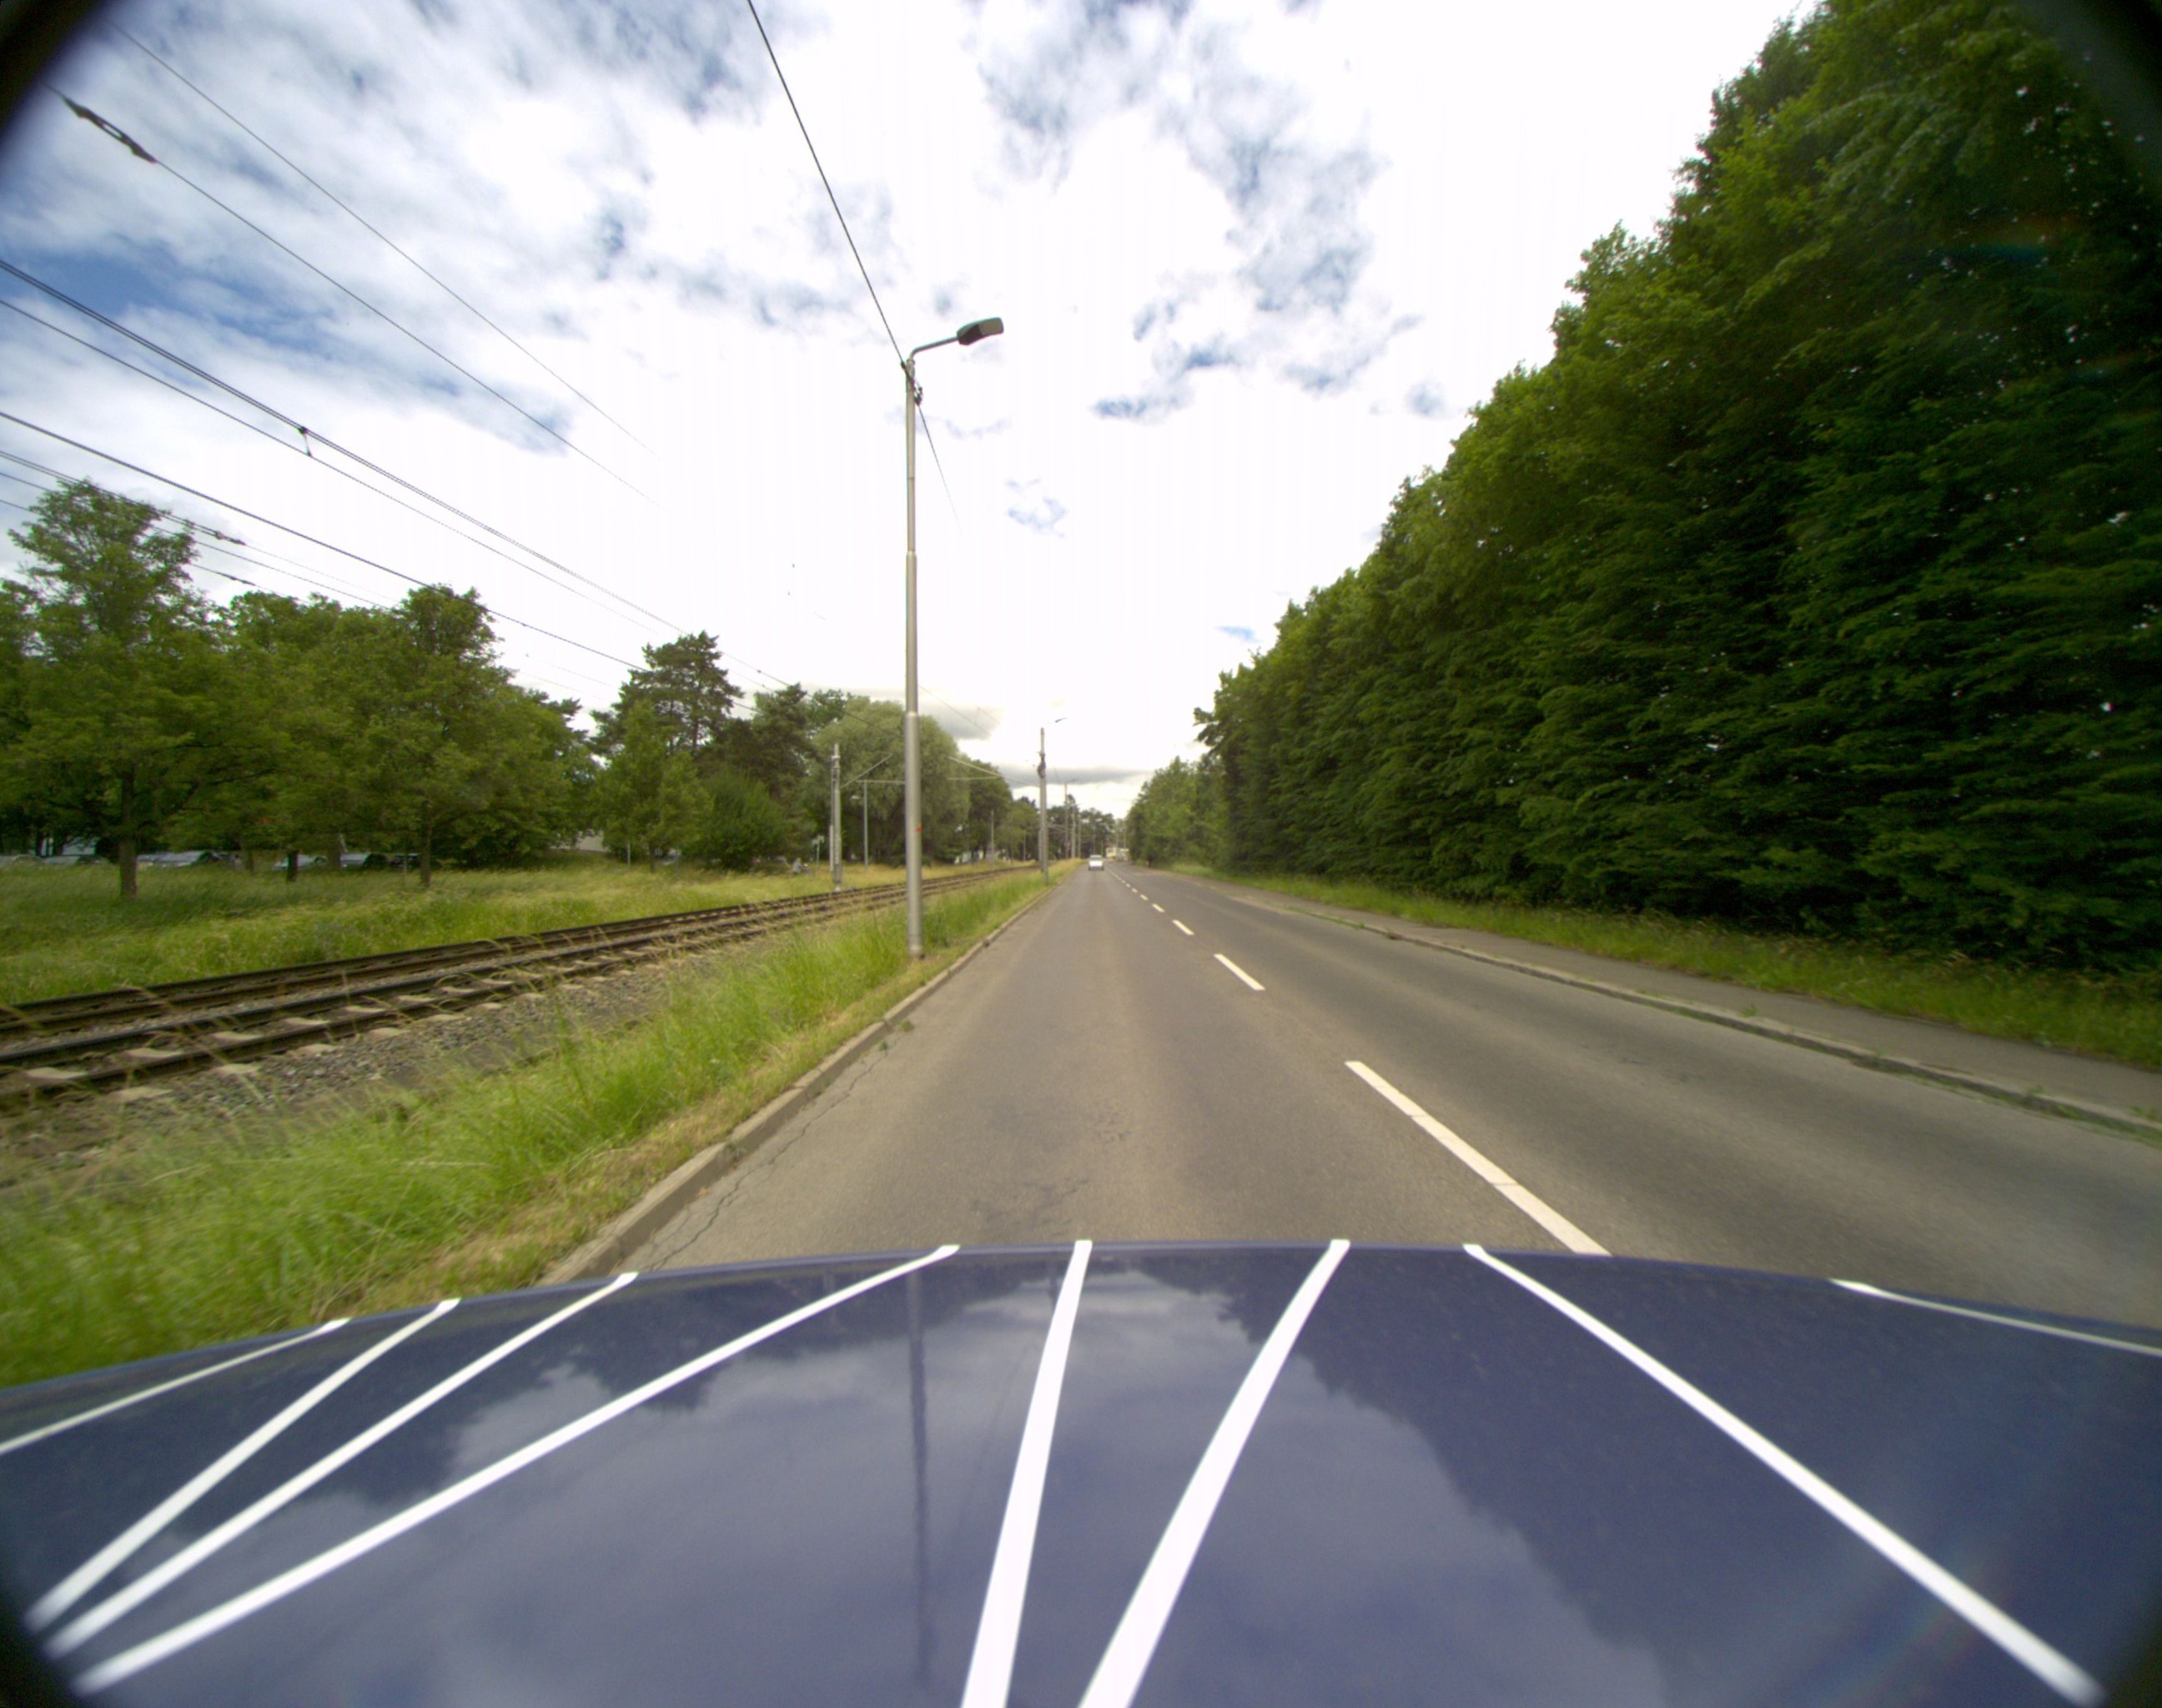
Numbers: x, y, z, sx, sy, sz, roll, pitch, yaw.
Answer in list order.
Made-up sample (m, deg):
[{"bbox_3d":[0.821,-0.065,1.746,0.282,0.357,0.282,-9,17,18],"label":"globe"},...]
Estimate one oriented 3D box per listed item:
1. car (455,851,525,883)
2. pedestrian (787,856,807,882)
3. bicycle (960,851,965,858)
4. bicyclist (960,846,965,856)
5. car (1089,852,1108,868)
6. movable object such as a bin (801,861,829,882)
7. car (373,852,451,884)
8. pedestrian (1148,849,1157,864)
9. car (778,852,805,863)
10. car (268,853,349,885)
[{"bbox_3d":[-35.851,0.764,46.210,1.750,1.793,3.996,-1,0,-11],"label":"car"},{"bbox_3d":[-18.634,0.982,49.848,0.656,1.657,0.960,0,1,42],"label":"pedestrian"},{"bbox_3d":[-20.956,0.082,134.218,0.582,1.239,1.929,-1,0,-2],"label":"bicycle"},{"bbox_3d":[-20.983,-0.498,134.567,0.582,1.686,0.935,-1,1,-2],"label":"bicyclist"},{"bbox_3d":[1.939,0.711,84.821,1.734,1.638,4.225,-1,-1,-4],"label":"car"},{"bbox_3d":[-17.757,1.148,50.812,0.658,1.303,1.646,0,1,42],"label":"movable object such as a bin"},{"bbox_3d":[-40.536,0.821,46.162,1.750,1.793,3.996,-1,0,-11],"label":"car"},{"bbox_3d":[8.381,0.279,88.711,0.870,1.759,0.789,0,0,-5],"label":"pedestrian"},{"bbox_3d":[-38.977,0.442,102.497,1.998,1.434,4.000,-1,0,1],"label":"car"},{"bbox_3d":[-46.008,0.851,45.360,2.002,1.801,3.992,-1,0,-24],"label":"car"}]
